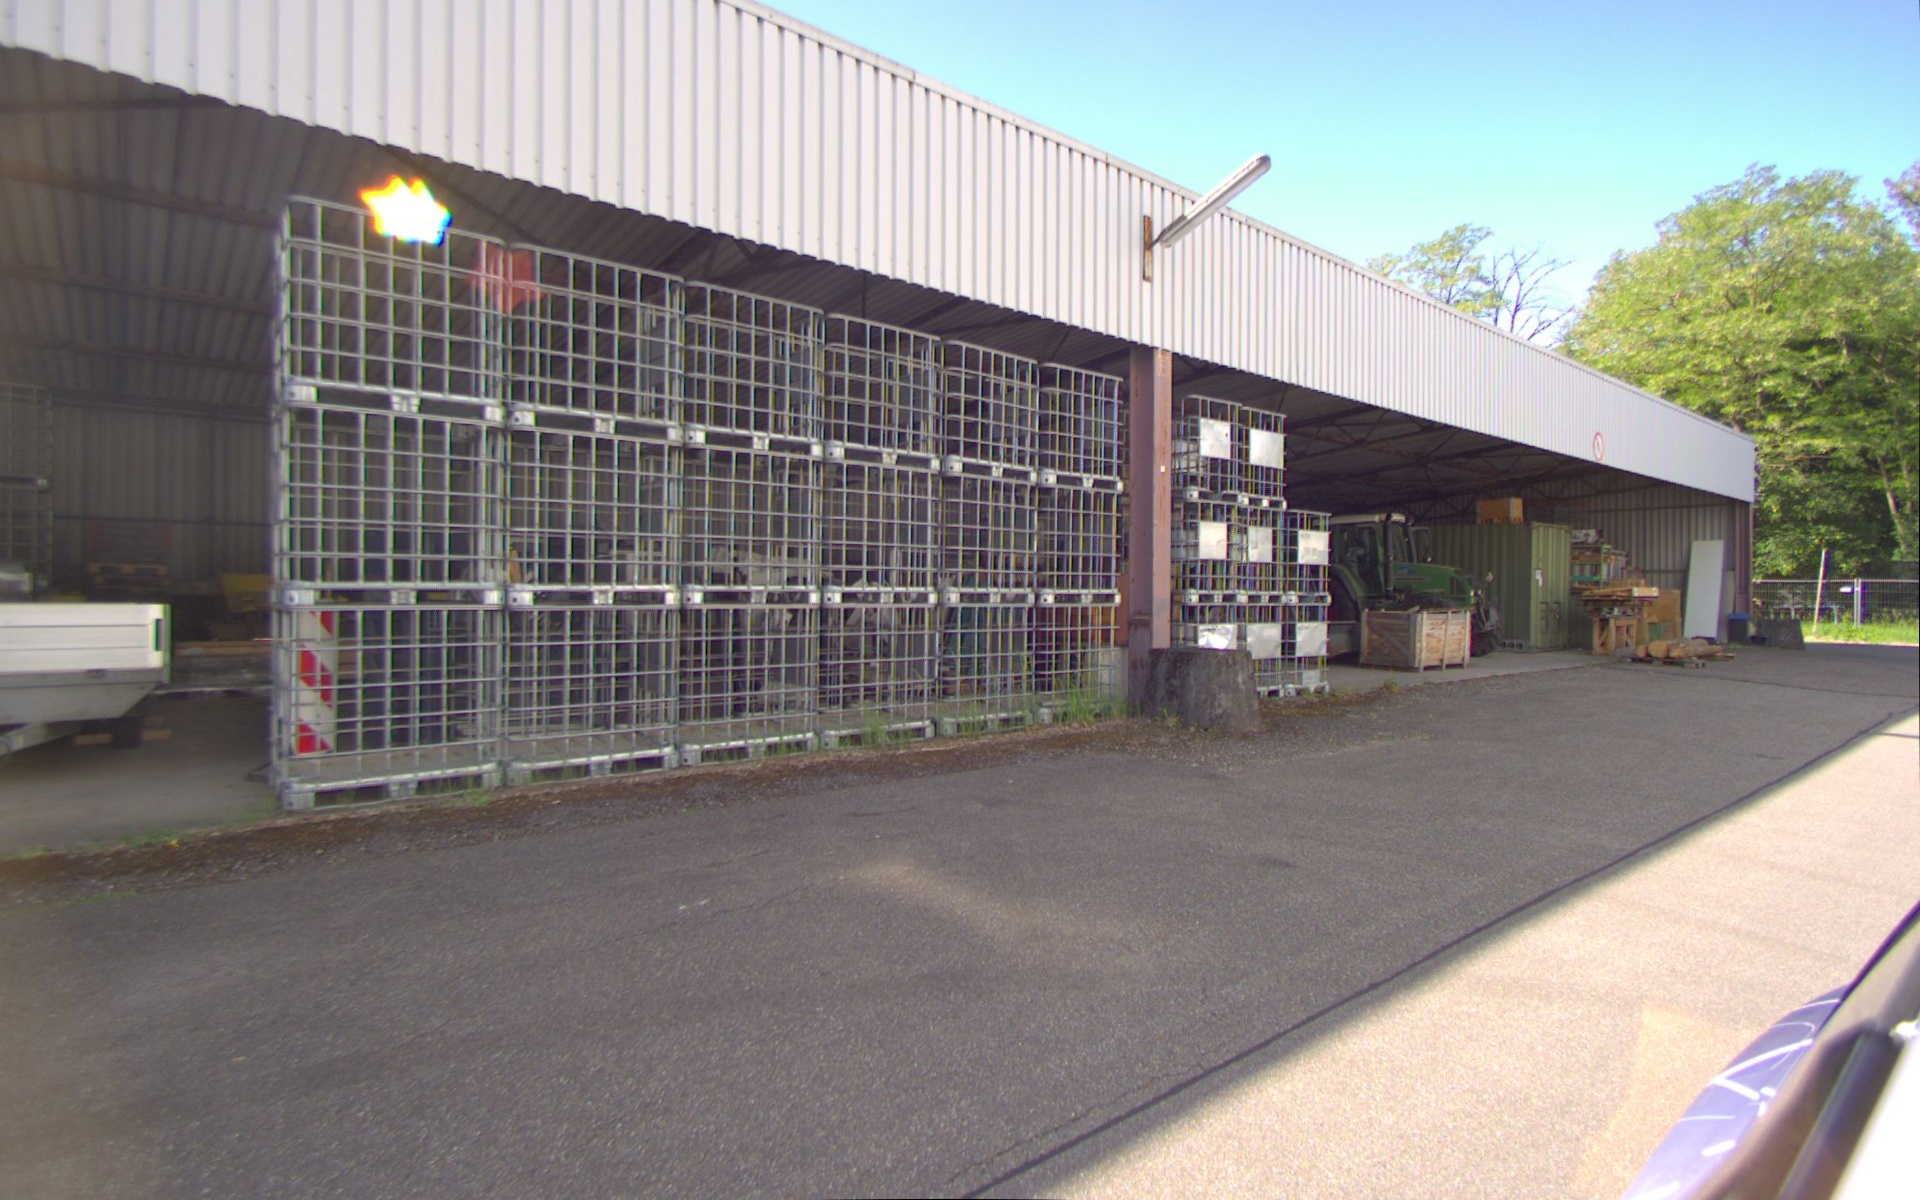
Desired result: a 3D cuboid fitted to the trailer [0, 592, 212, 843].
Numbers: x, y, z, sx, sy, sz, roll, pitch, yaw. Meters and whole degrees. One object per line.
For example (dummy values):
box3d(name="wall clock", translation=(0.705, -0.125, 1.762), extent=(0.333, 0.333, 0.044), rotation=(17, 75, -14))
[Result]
box3d(name="trailer", translation=(-6.742, 0.552, 6.938), extent=(2.104, 1.147, 5.857), rotation=(0, 1, -41))

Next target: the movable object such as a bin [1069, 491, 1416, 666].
box3d(name="movable object such as a bin", translation=(5.440, -0.393, 20.381), extent=(2.962, 2.947, 6.199), rotation=(0, 0, -39))

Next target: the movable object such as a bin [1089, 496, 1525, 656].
box3d(name="movable object such as a bin", translation=(7.377, -0.483, 23.130), extent=(3.154, 2.947, 9.213), rotation=(0, 0, -39))
